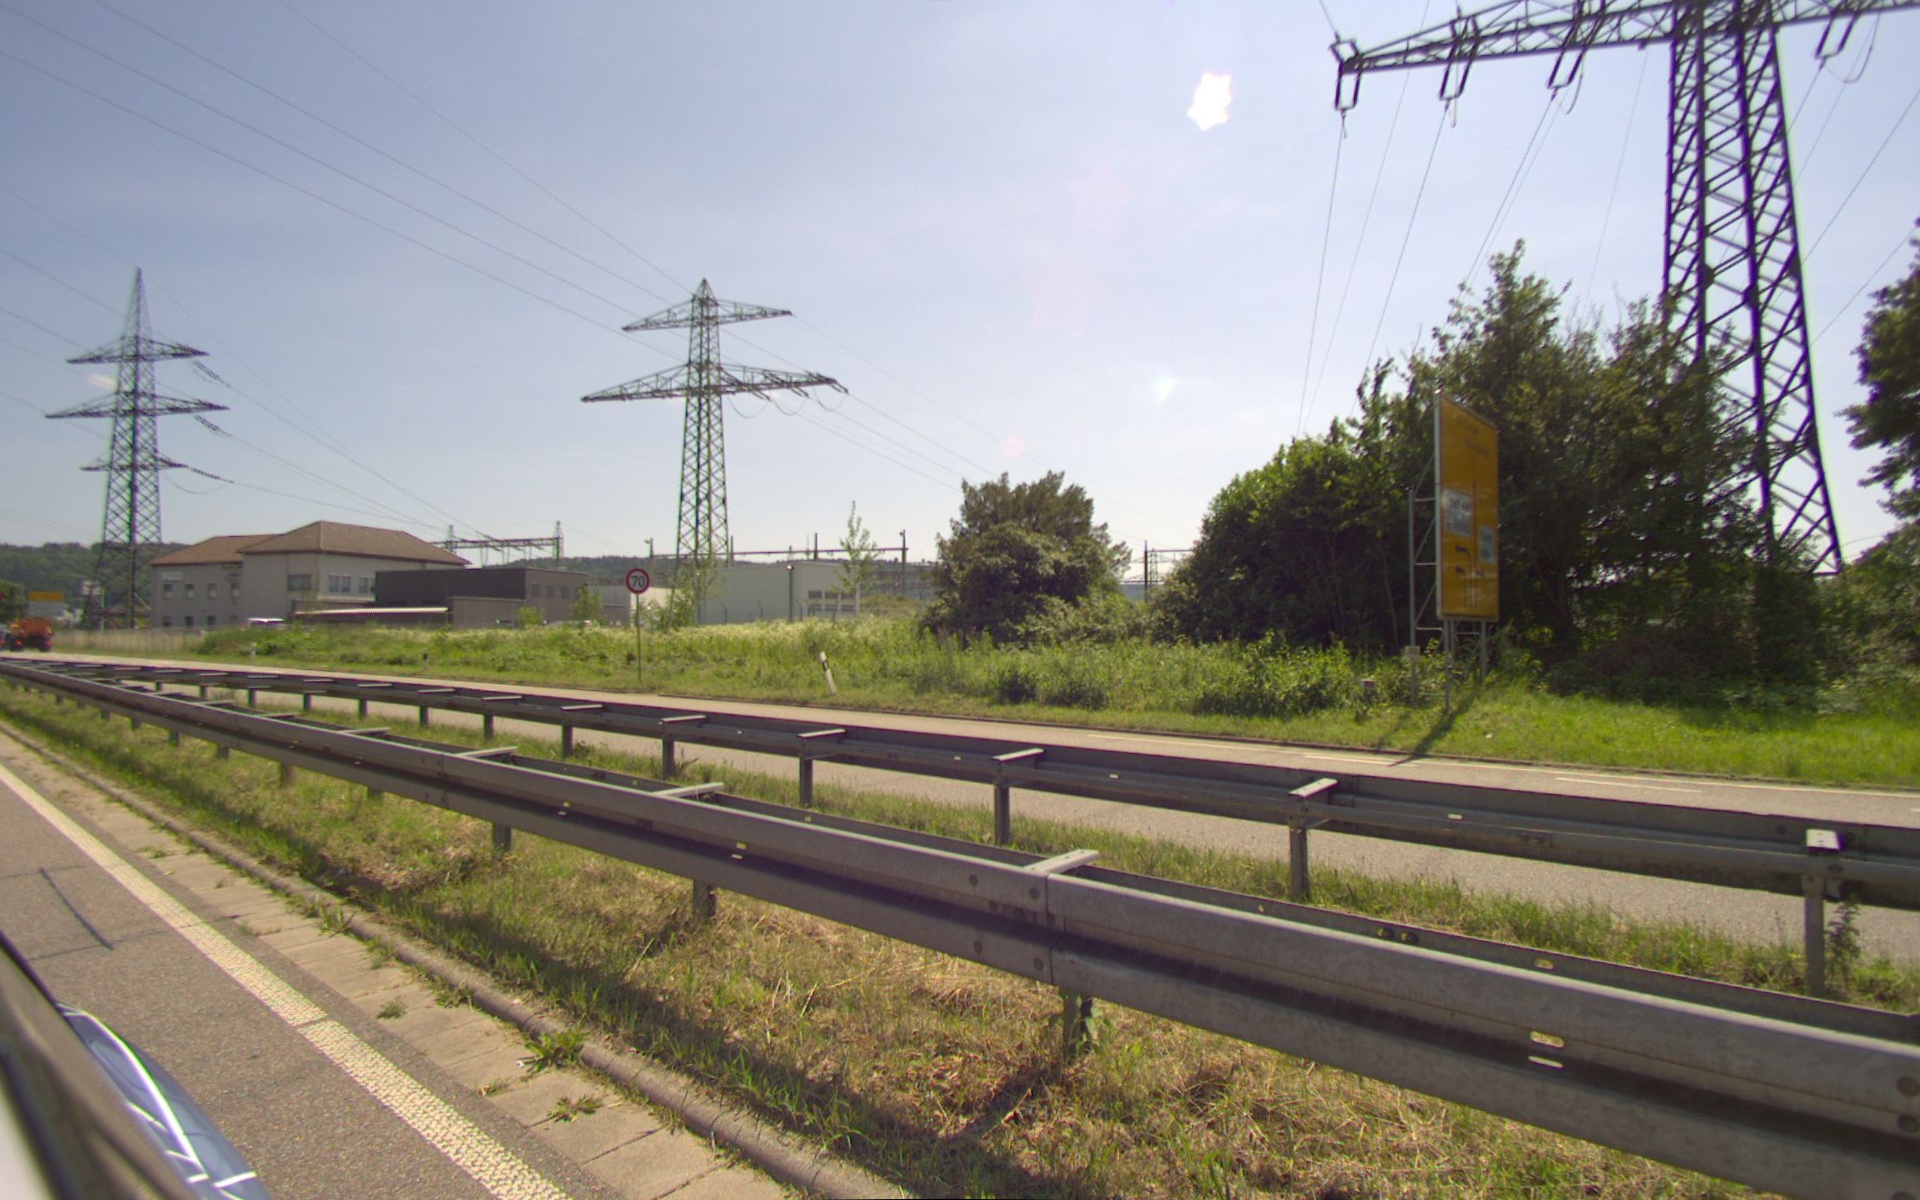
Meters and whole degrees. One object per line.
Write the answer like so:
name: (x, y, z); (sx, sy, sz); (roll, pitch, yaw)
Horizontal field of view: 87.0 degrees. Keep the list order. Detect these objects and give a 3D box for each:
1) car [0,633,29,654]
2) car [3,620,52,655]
car: (-93.482, 4.245, 99.667); (3.994, 1.929, 1.975); (-1, 0, 38)
car: (-84.973, 3.453, 92.154); (5.635, 3.084, 2.573); (-2, -3, 41)
